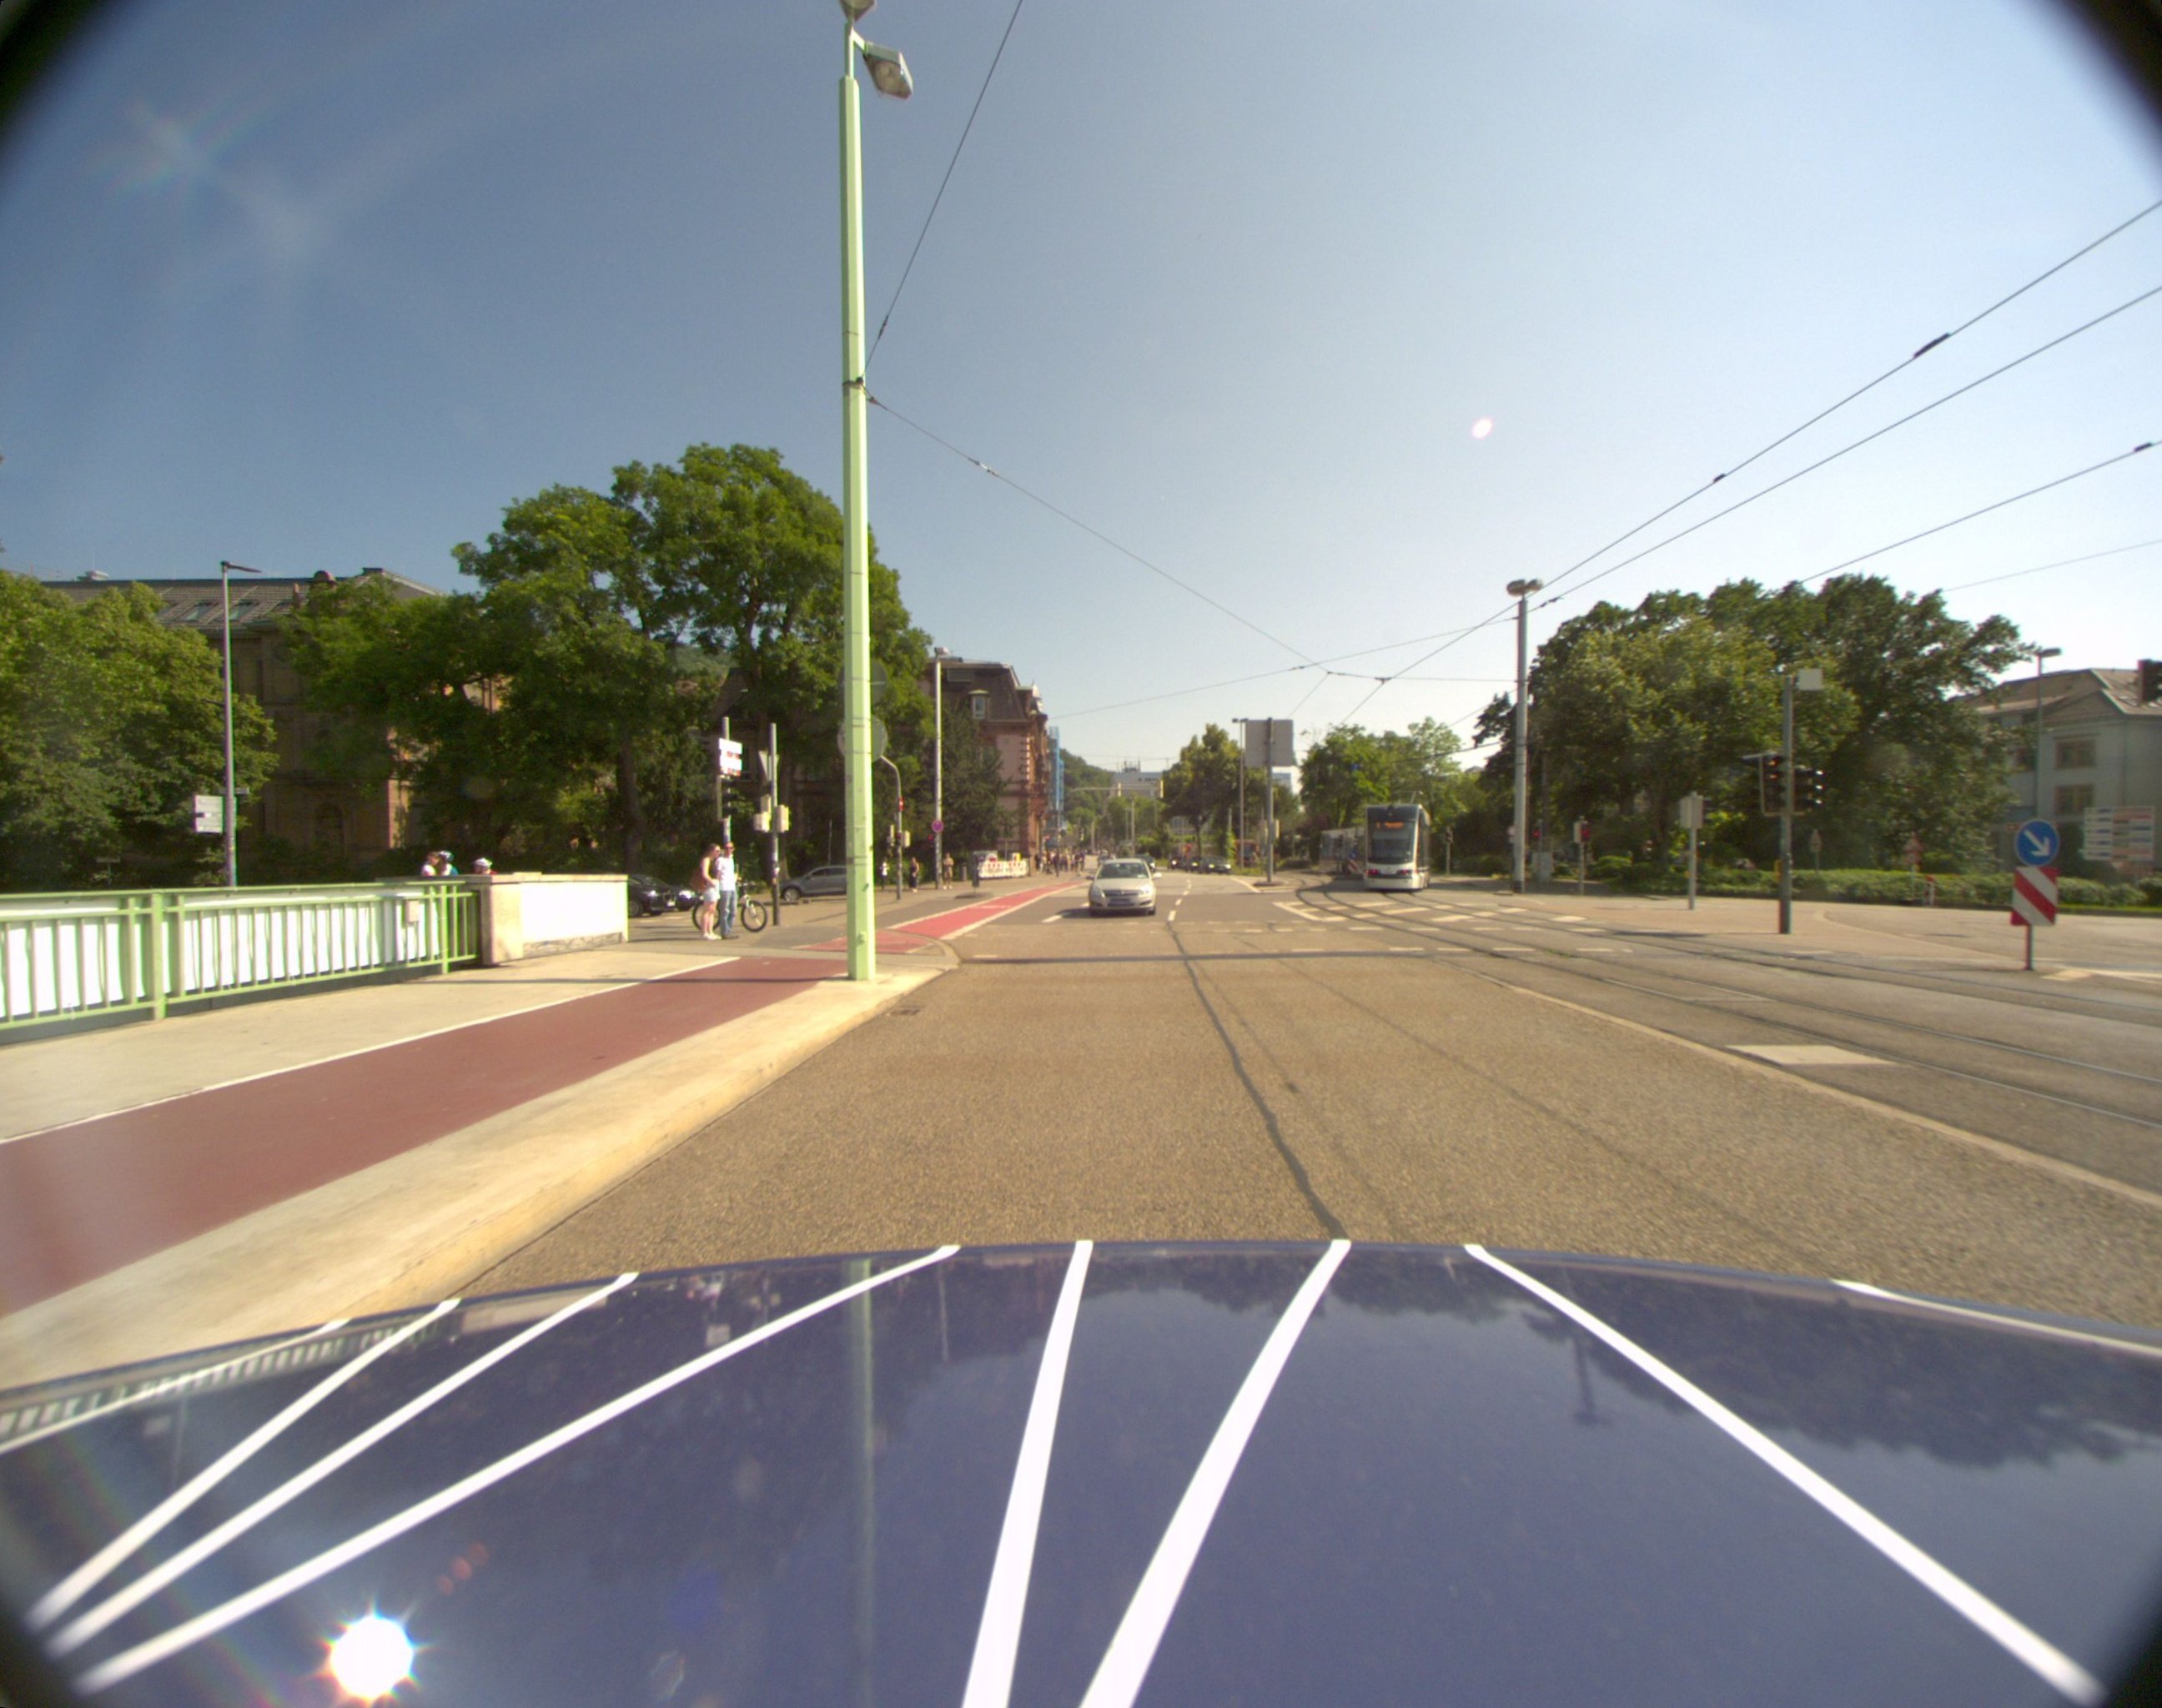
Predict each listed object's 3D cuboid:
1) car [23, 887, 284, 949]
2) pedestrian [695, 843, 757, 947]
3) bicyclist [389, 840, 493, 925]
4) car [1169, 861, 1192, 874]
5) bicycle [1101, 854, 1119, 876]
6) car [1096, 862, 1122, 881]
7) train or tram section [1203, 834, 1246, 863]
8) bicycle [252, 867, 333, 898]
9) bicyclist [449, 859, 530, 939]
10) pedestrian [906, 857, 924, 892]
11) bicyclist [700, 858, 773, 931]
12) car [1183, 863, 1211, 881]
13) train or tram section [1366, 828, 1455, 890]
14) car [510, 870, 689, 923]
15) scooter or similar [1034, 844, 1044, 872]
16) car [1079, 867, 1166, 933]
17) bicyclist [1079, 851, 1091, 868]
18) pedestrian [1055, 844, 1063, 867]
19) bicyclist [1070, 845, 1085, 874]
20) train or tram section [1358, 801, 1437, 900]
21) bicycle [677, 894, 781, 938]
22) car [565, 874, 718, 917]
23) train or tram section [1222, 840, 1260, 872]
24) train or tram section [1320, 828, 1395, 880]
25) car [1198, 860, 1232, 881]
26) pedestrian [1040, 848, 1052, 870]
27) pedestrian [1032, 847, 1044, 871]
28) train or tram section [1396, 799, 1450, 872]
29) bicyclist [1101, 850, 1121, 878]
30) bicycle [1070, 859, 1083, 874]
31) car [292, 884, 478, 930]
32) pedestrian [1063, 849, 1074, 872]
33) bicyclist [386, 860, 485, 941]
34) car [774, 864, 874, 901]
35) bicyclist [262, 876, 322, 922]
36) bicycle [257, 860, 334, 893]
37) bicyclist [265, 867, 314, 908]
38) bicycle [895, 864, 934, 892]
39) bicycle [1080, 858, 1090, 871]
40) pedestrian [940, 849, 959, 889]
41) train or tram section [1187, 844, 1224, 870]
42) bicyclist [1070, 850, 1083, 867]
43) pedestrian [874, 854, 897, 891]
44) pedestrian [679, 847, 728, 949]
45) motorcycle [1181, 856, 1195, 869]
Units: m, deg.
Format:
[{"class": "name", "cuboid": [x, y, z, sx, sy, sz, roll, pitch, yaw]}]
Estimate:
[{"class": "car", "cuboid": [-25.004, 1.683, 20.643, 4.485, 1.439, 1.846, -1, 0, -5]}, {"class": "pedestrian", "cuboid": [-6.474, 0.739, 13.876, 0.775, 1.844, 0.645, -1, 0, 6]}, {"class": "bicyclist", "cuboid": [-11.500, 0.495, 13.683, 1.082, 1.465, 0.928, -1, 0, 9]}, {"class": "car", "cuboid": [10.064, 1.359, 77.276, 1.637, 1.301, 3.913, 1, 0, -3]}, {"class": "bicycle", "cuboid": [1.471, 0.555, 38.528, 0.643, 1.076, 2.495, 1, 0, -4]}, {"class": "car", "cuboid": [2.332, 1.462, 64.243, 1.998, 1.564, 4.000, -1, 0, 0]}, {"class": "train or tram section", "cuboid": [17.727, -0.620, 94.717, 2.767, 3.383, 12.409, 1, 0, -1]}, {"class": "bicycle", "cuboid": [-30.555, 1.094, 29.471, 2.250, 1.158, 0.616, 0, 1, -9]}, {"class": "bicyclist", "cuboid": [-11.361, 0.843, 14.606, 1.081, 1.465, 0.763, -1, 0, 23]}, {"class": "pedestrian", "cuboid": [-8.283, 1.007, 37.978, 0.675, 1.700, 0.893, 1, 1, 0]}, {"class": "bicyclist", "cuboid": [-7.153, 0.828, 15.794, 1.082, 1.465, 0.801, -1, 0, 7]}, {"class": "car", "cuboid": [9.951, 1.517, 65.599, 1.797, 1.403, 4.000, 1, 0, 0]}, {"class": "train or tram section", "cuboid": [22.054, 0.244, 51.469, 2.543, 3.755, 9.170, 1, 1, 4]}, {"class": "car", "cuboid": [-15.371, 1.332, 24.483, 4.485, 1.497, 1.846, -1, 0, -7]}, {"class": "scooter or similar", "cuboid": [-3.073, 0.287, 55.956, 0.694, 2.002, 1.095, 1, 1, -3]}, {"class": "car", "cuboid": [1.264, 1.162, 20.897, 1.800, 1.492, 4.501, 1, 0, 10]}, {"class": "bicyclist", "cuboid": [0.300, 0.458, 63.951, 0.912, 1.428, 1.232, 1, 0, -3]}, {"class": "pedestrian", "cuboid": [-1.791, 0.110, 61.367, 0.636, 1.880, 0.903, 0, 0, -3]}, {"class": "bicyclist", "cuboid": [-0.252, 0.379, 53.962, 0.944, 2.002, 0.830, 1, 1, -3]}, {"class": "train or tram section", "cuboid": [14.795, -0.090, 34.920, 2.471, 3.755, 11.872, 1, 0, 27]}, {"class": "bicycle", "cuboid": [-7.304, 1.281, 15.790, 1.942, 0.822, 0.565, -2, 0, 8]}, {"class": "car", "cuboid": [-15.627, 1.453, 27.182, 4.315, 1.349, 1.881, -1, 0, -4]}, {"class": "train or tram section", "cuboid": [17.962, 0.227, 85.429, 2.767, 3.383, 5.885, 1, 0, -3]}, {"class": "train or tram section", "cuboid": [22.017, -0.011, 61.078, 2.543, 3.755, 9.168, 2, 0, 0]}, {"class": "car", "cuboid": [10.440, 1.259, 59.319, 1.752, 1.477, 4.747, 2, 0, 0]}, {"class": "pedestrian", "cuboid": [-2.702, 0.377, 58.209, 0.814, 1.593, 0.815, 3, 0, -3]}, {"class": "pedestrian", "cuboid": [-3.192, 0.386, 56.684, 0.814, 1.782, 0.815, 3, 1, -3]}, {"class": "train or tram section", "cuboid": [19.551, -0.887, 43.147, 2.405, 3.659, 9.637, 1, 0, 26]}, {"class": "bicyclist", "cuboid": [1.511, 0.477, 38.519, 0.913, 1.385, 1.232, 1, 0, -3]}, {"class": "bicycle", "cuboid": [-0.341, 0.907, 55.416, 0.781, 1.096, 2.138, 1, 0, -3]}, {"class": "car", "cuboid": [-24.034, 1.807, 26.404, 4.485, 1.371, 1.846, -1, 0, -7]}, {"class": "pedestrian", "cuboid": [-1.002, 0.533, 60.694, 0.707, 1.759, 0.903, -3, 1, -3]}, {"class": "bicyclist", "cuboid": [-12.167, 0.852, 14.350, 1.081, 1.465, 0.929, -1, 0, 11]}, {"class": "car", "cuboid": [-11.235, 1.224, 33.263, 3.997, 1.507, 1.932, 1, 0, -21]}, {"class": "bicyclist", "cuboid": [-30.268, 1.699, 29.179, 1.089, 1.668, 1.171, -1, 0, -10]}, {"class": "bicycle", "cuboid": [-30.327, 0.864, 29.348, 2.003, 1.218, 0.717, -1, 0, -10]}, {"class": "bicyclist", "cuboid": [-30.667, 1.293, 29.456, 1.059, 1.544, 0.777, 0, 0, -7]}, {"class": "bicycle", "cuboid": [-8.357, 1.190, 38.256, 0.801, 1.199, 2.276, 3, 5, 20]}, {"class": "bicycle", "cuboid": [0.320, 0.885, 64.088, 0.643, 1.076, 2.496, 1, 0, -3]}, {"class": "pedestrian", "cuboid": [-6.780, 0.751, 39.154, 0.777, 2.002, 1.059, 1, 1, -2]}, {"class": "train or tram section", "cuboid": [17.411, 0.406, 107.067, 2.767, 3.383, 12.409, 1, 0, -2]}, {"class": "bicyclist", "cuboid": [-0.340, 0.344, 55.399, 0.923, 1.212, 0.971, 1, 0, -3]}, {"class": "pedestrian", "cuboid": [-9.688, 0.914, 37.705, 1.060, 1.772, 0.700, -1, 5, -12]}, {"class": "pedestrian", "cuboid": [-6.616, 0.759, 13.335, 0.535, 1.750, 0.577, -1, 0, 6]}, {"class": "motorcycle", "cuboid": [10.211, 0.796, 72.351, 0.903, 1.156, 2.352, 1, 0, -3]}]
